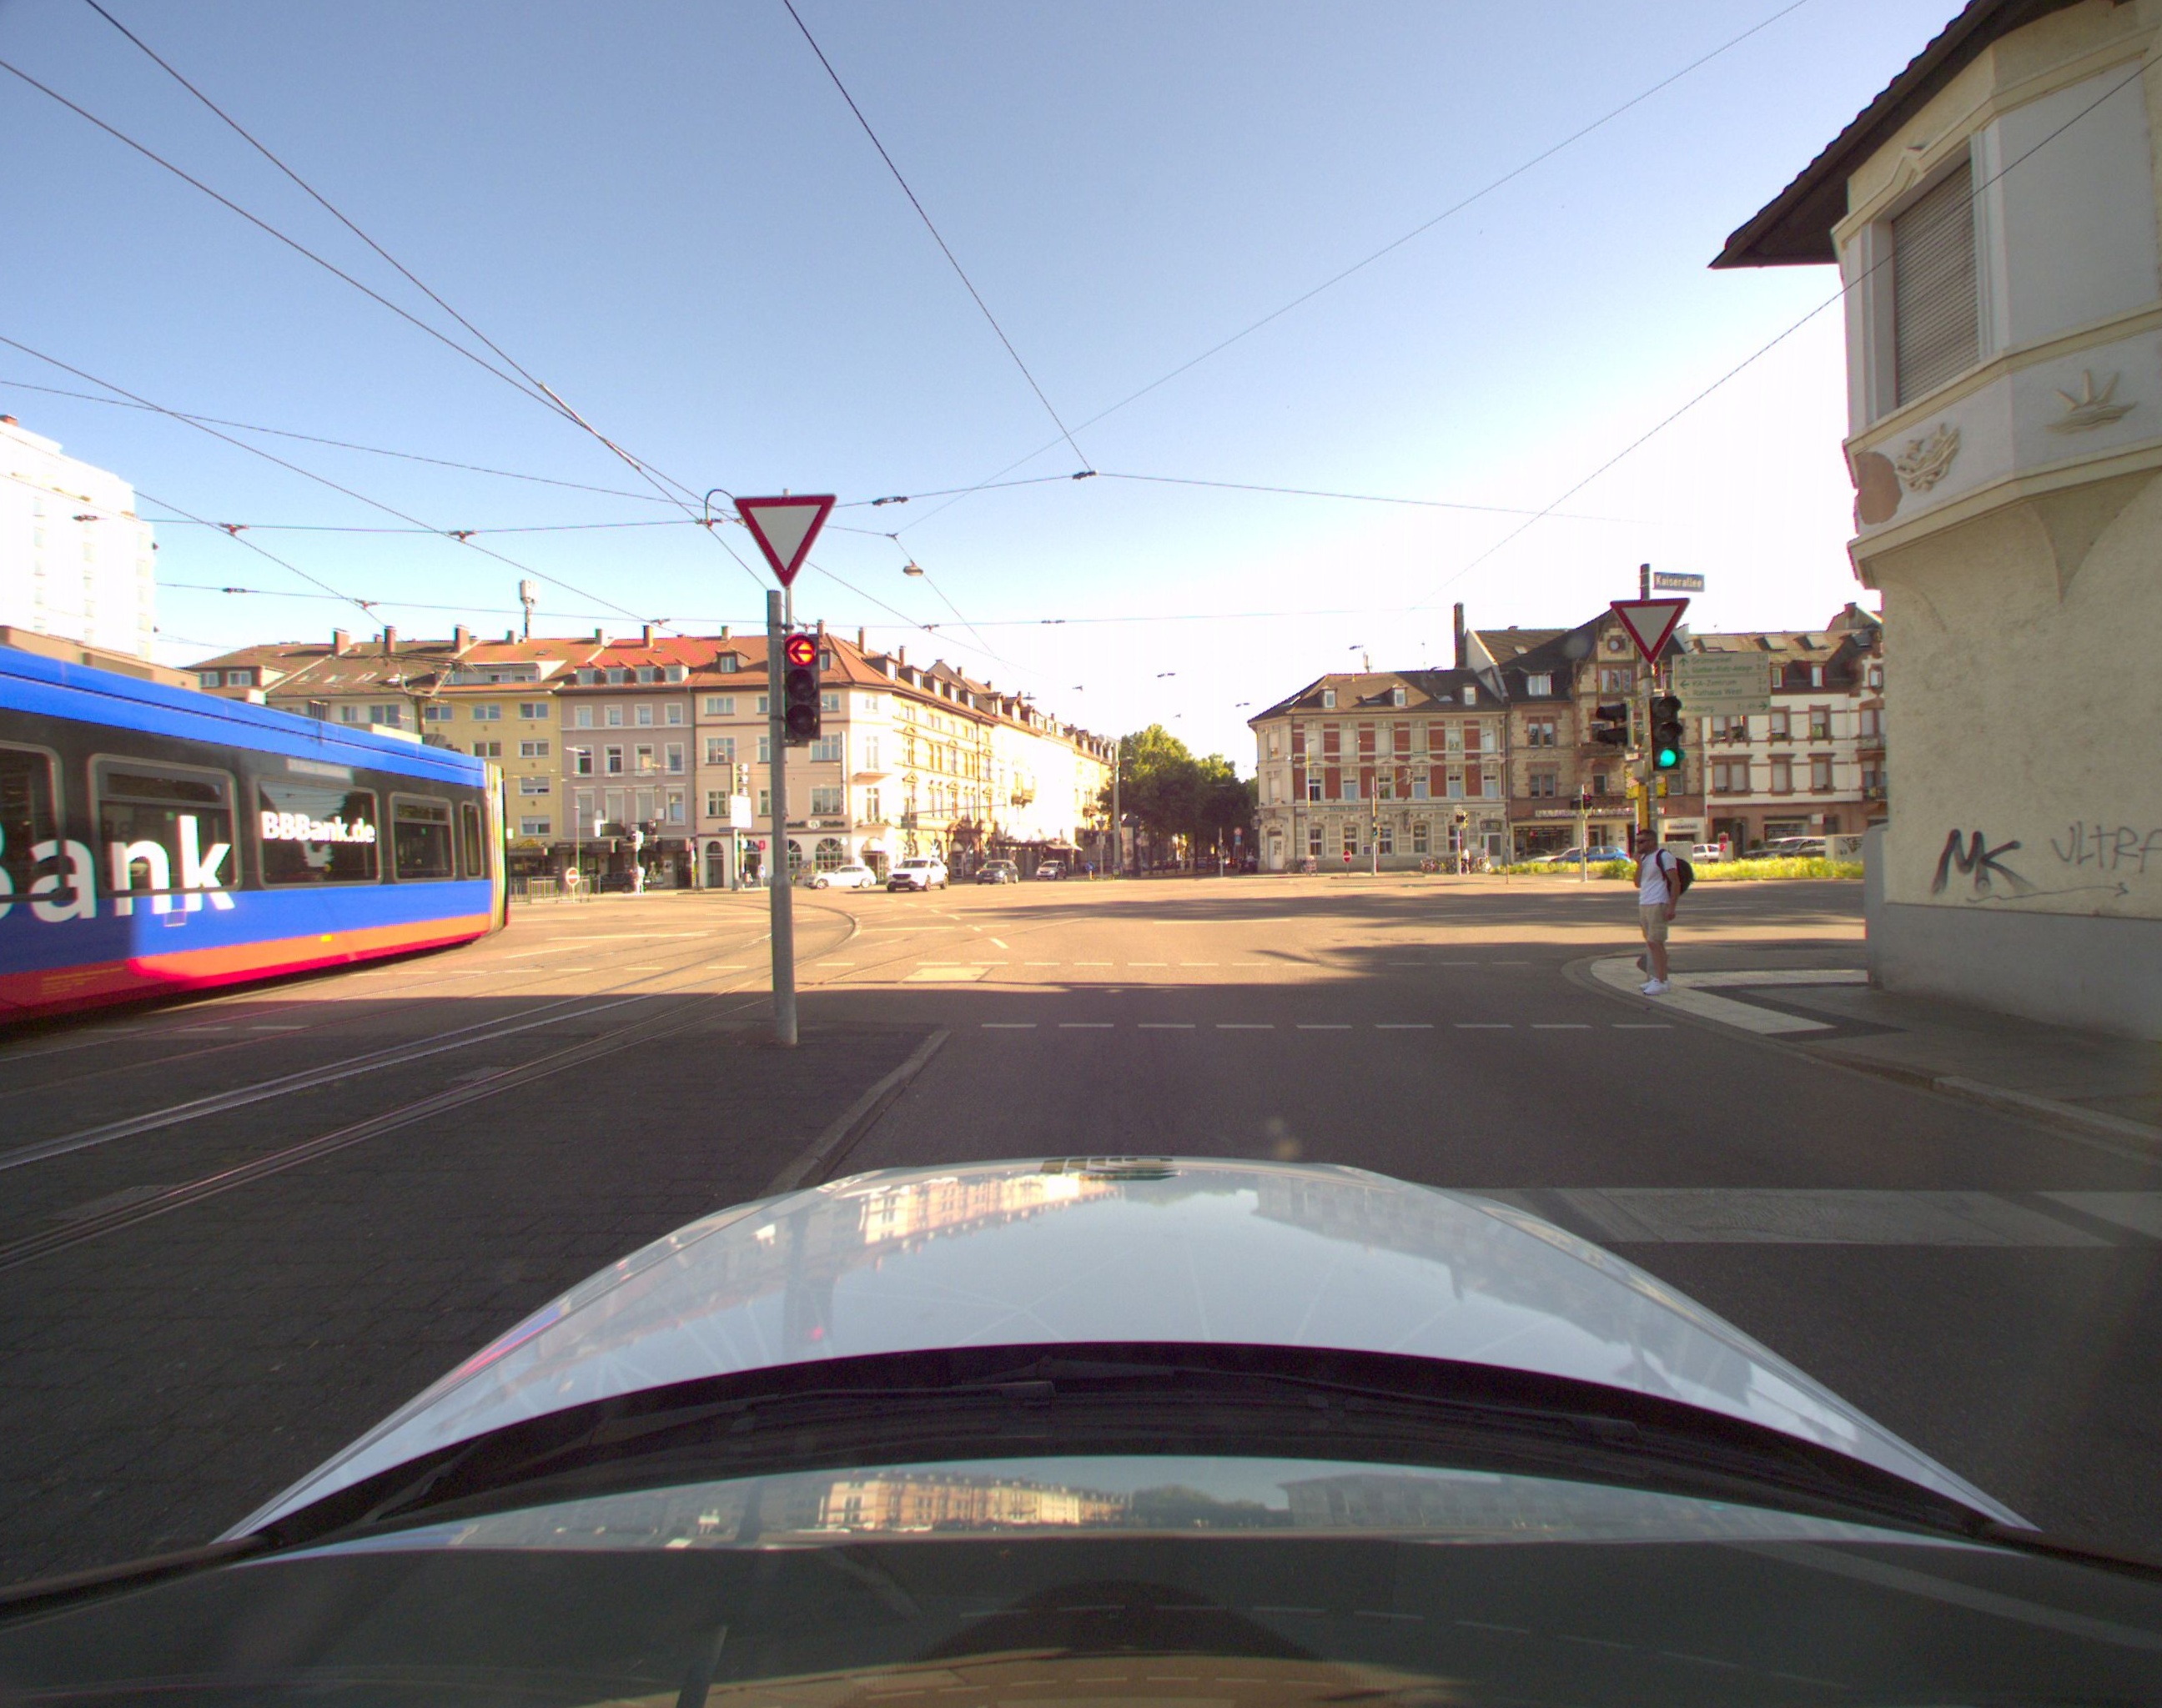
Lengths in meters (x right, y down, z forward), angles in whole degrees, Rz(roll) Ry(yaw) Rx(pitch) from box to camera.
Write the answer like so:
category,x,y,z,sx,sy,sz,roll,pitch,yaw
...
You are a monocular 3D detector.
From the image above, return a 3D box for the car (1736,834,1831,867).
category,x,y,z,sx,sy,sz,roll,pitch,yaw
car,45.237,-0.197,52.488,4.388,1.965,1.955,-2,0,1

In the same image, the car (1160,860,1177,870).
category,x,y,z,sx,sy,sz,roll,pitch,yaw
car,14.224,1.780,131.640,1.978,1.497,4.051,-2,0,16

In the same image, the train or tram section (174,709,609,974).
category,x,y,z,sx,sy,sz,roll,pitch,yaw
train or tram section,-13.097,-0.138,17.473,3.066,3.613,12.414,-1,0,-21

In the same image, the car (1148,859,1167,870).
category,x,y,z,sx,sy,sz,roll,pitch,yaw
car,11.528,1.618,122.497,1.978,1.497,4.051,-2,0,16

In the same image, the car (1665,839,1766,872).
category,x,y,z,sx,sy,sz,roll,pitch,yaw
car,34.806,0.085,44.755,3.973,1.668,1.955,-2,0,1

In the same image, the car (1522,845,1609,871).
category,x,y,z,sx,sy,sz,roll,pitch,yaw
car,28.511,0.255,48.014,3.973,1.412,1.846,-2,0,1

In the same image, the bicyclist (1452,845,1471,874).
category,x,y,z,sx,sy,sz,roll,pitch,yaw
bicyclist,23.595,0.347,50.501,0.869,1.764,0.602,-1,0,4

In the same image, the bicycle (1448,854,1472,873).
category,x,y,z,sx,sy,sz,roll,pitch,yaw
bicycle,24.521,0.575,52.729,0.674,1.191,1.969,-1,0,3

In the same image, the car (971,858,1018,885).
category,x,y,z,sx,sy,sz,roll,pitch,yaw
car,-5.171,1.021,49.428,1.764,1.497,4.583,-2,0,7

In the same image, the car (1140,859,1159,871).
category,x,y,z,sx,sy,sz,roll,pitch,yaw
car,9.911,1.585,117.297,1.978,1.497,4.051,-2,0,16

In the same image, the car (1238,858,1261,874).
category,x,y,z,sx,sy,sz,roll,pitch,yaw
car,17.019,1.147,82.159,1.978,1.497,4.051,-2,0,16

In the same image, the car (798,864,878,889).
category,x,y,z,sx,sy,sz,roll,pitch,yaw
car,-14.758,1.324,49.563,4.242,1.355,1.977,-1,0,-38

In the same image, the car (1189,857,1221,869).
category,x,y,z,sx,sy,sz,roll,pitch,yaw
car,17.536,1.274,115.419,3.949,1.545,2.012,-2,0,30

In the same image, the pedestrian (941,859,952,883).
category,x,y,z,sx,sy,sz,roll,pitch,yaw
pedestrian,-10.432,1.330,63.309,0.575,1.836,0.636,-2,0,18

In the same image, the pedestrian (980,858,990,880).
category,x,y,z,sx,sy,sz,roll,pitch,yaw
pedestrian,-8.464,1.336,71.784,0.676,1.908,0.636,-2,0,18

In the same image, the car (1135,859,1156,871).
category,x,y,z,sx,sy,sz,roll,pitch,yaw
car,8.940,1.556,112.831,1.978,1.497,4.051,-2,0,16

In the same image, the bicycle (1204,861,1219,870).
category,x,y,z,sx,sy,sz,roll,pitch,yaw
bicycle,15.878,1.357,99.031,0.586,1.067,1.928,-1,0,-34

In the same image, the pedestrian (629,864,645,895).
category,x,y,z,sx,sy,sz,roll,pitch,yaw
pedestrian,-24.301,1.382,44.519,0.729,1.627,0.665,-1,0,-30

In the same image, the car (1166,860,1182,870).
category,x,y,z,sx,sy,sz,roll,pitch,yaw
car,15.568,1.882,136.340,1.978,1.497,4.051,-2,0,16

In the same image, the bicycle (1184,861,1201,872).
category,x,y,z,sx,sy,sz,roll,pitch,yaw
bicycle,11.337,1.283,82.637,0.586,1.067,1.928,-1,0,-34

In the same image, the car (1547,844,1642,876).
category,x,y,z,sx,sy,sz,roll,pitch,yaw
car,28.319,0.332,45.021,3.973,1.668,1.955,-2,0,1

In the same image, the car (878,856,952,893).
category,x,y,z,sx,sy,sz,roll,pitch,yaw
car,-7.436,0.875,36.916,1.983,1.497,4.355,-2,0,6

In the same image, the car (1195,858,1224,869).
category,x,y,z,sx,sy,sz,roll,pitch,yaw
car,20.209,1.446,128.002,3.949,1.545,2.012,-2,0,30

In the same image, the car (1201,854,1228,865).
category,x,y,z,sx,sy,sz,roll,pitch,yaw
car,22.013,0.894,134.044,3.949,1.545,2.012,-2,0,30

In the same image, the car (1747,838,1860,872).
category,x,y,z,sx,sy,sz,roll,pitch,yaw
car,39.580,0.060,44.693,4.456,1.668,1.955,-2,0,1

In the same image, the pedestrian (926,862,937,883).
category,x,y,z,sx,sy,sz,roll,pitch,yaw
pedestrian,-11.645,1.434,63.465,0.546,1.642,0.540,-2,0,17

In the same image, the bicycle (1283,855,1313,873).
category,x,y,z,sx,sy,sz,roll,pitch,yaw
bicycle,15.190,0.714,56.953,1.950,1.191,0.547,-2,0,6

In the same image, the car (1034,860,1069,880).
category,x,y,z,sx,sy,sz,roll,pitch,yaw
car,-2.359,1.238,65.740,1.705,1.497,3.599,-2,0,16

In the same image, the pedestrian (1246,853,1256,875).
category,x,y,z,sx,sy,sz,roll,pitch,yaw
pedestrian,13.042,0.740,62.468,0.710,1.669,0.943,-2,0,14

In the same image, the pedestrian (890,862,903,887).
category,x,y,z,sx,sy,sz,roll,pitch,yaw
pedestrian,-12.738,1.415,56.183,0.670,1.642,0.581,-2,0,15

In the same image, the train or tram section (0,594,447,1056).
category,x,y,z,sx,sy,sz,roll,pitch,yaw
train or tram section,-9.975,-0.200,6.233,3.058,3.613,12.063,-1,0,-12

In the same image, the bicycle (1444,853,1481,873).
category,x,y,z,sx,sy,sz,roll,pitch,yaw
bicycle,23.642,0.579,50.499,1.952,1.191,0.602,-2,0,4

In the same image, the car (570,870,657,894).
category,x,y,z,sx,sy,sz,roll,pitch,yaw
car,-30.700,1.836,53.527,4.626,1.440,1.743,-1,-1,-1

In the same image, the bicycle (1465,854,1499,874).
category,x,y,z,sx,sy,sz,roll,pitch,yaw
bicycle,25.746,0.634,52.300,1.961,1.191,0.677,-1,0,-10

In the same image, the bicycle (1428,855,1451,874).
category,x,y,z,sx,sy,sz,roll,pitch,yaw
bicycle,23.200,0.652,52.767,0.674,1.191,1.969,-1,0,3

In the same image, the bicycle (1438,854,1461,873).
category,x,y,z,sx,sy,sz,roll,pitch,yaw
bicycle,23.849,0.619,52.752,0.674,1.191,1.969,-1,0,3

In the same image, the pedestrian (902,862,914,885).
category,x,y,z,sx,sy,sz,roll,pitch,yaw
pedestrian,-12.229,1.370,57.631,0.626,1.642,0.554,-2,0,15

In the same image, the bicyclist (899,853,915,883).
category,x,y,z,sx,sy,sz,roll,pitch,yaw
bicyclist,-9.168,0.727,42.988,0.716,1.559,0.981,-1,0,-18

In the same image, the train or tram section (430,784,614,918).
category,x,y,z,sx,sy,sz,roll,pitch,yaw
train or tram section,-19.017,0.009,27.188,3.083,3.613,11.965,-1,0,-44

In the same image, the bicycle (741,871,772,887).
category,x,y,z,sx,sy,sz,roll,pitch,yaw
bicycle,-22.810,1.768,57.270,1.940,1.067,0.582,-1,0,-6

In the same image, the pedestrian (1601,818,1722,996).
category,x,y,z,sx,sy,sz,roll,pitch,yaw
pedestrian,6.074,0.534,8.533,0.691,1.740,0.668,-4,-1,-28

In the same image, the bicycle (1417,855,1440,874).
category,x,y,z,sx,sy,sz,roll,pitch,yaw
bicycle,22.499,0.642,52.758,0.674,1.191,1.969,-1,0,3

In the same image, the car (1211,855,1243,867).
category,x,y,z,sx,sy,sz,roll,pitch,yaw
car,20.882,1.008,116.213,3.948,1.545,2.013,-2,0,32

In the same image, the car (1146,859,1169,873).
category,x,y,z,sx,sy,sz,roll,pitch,yaw
car,9.182,1.428,97.287,1.978,1.497,4.051,-2,0,16
